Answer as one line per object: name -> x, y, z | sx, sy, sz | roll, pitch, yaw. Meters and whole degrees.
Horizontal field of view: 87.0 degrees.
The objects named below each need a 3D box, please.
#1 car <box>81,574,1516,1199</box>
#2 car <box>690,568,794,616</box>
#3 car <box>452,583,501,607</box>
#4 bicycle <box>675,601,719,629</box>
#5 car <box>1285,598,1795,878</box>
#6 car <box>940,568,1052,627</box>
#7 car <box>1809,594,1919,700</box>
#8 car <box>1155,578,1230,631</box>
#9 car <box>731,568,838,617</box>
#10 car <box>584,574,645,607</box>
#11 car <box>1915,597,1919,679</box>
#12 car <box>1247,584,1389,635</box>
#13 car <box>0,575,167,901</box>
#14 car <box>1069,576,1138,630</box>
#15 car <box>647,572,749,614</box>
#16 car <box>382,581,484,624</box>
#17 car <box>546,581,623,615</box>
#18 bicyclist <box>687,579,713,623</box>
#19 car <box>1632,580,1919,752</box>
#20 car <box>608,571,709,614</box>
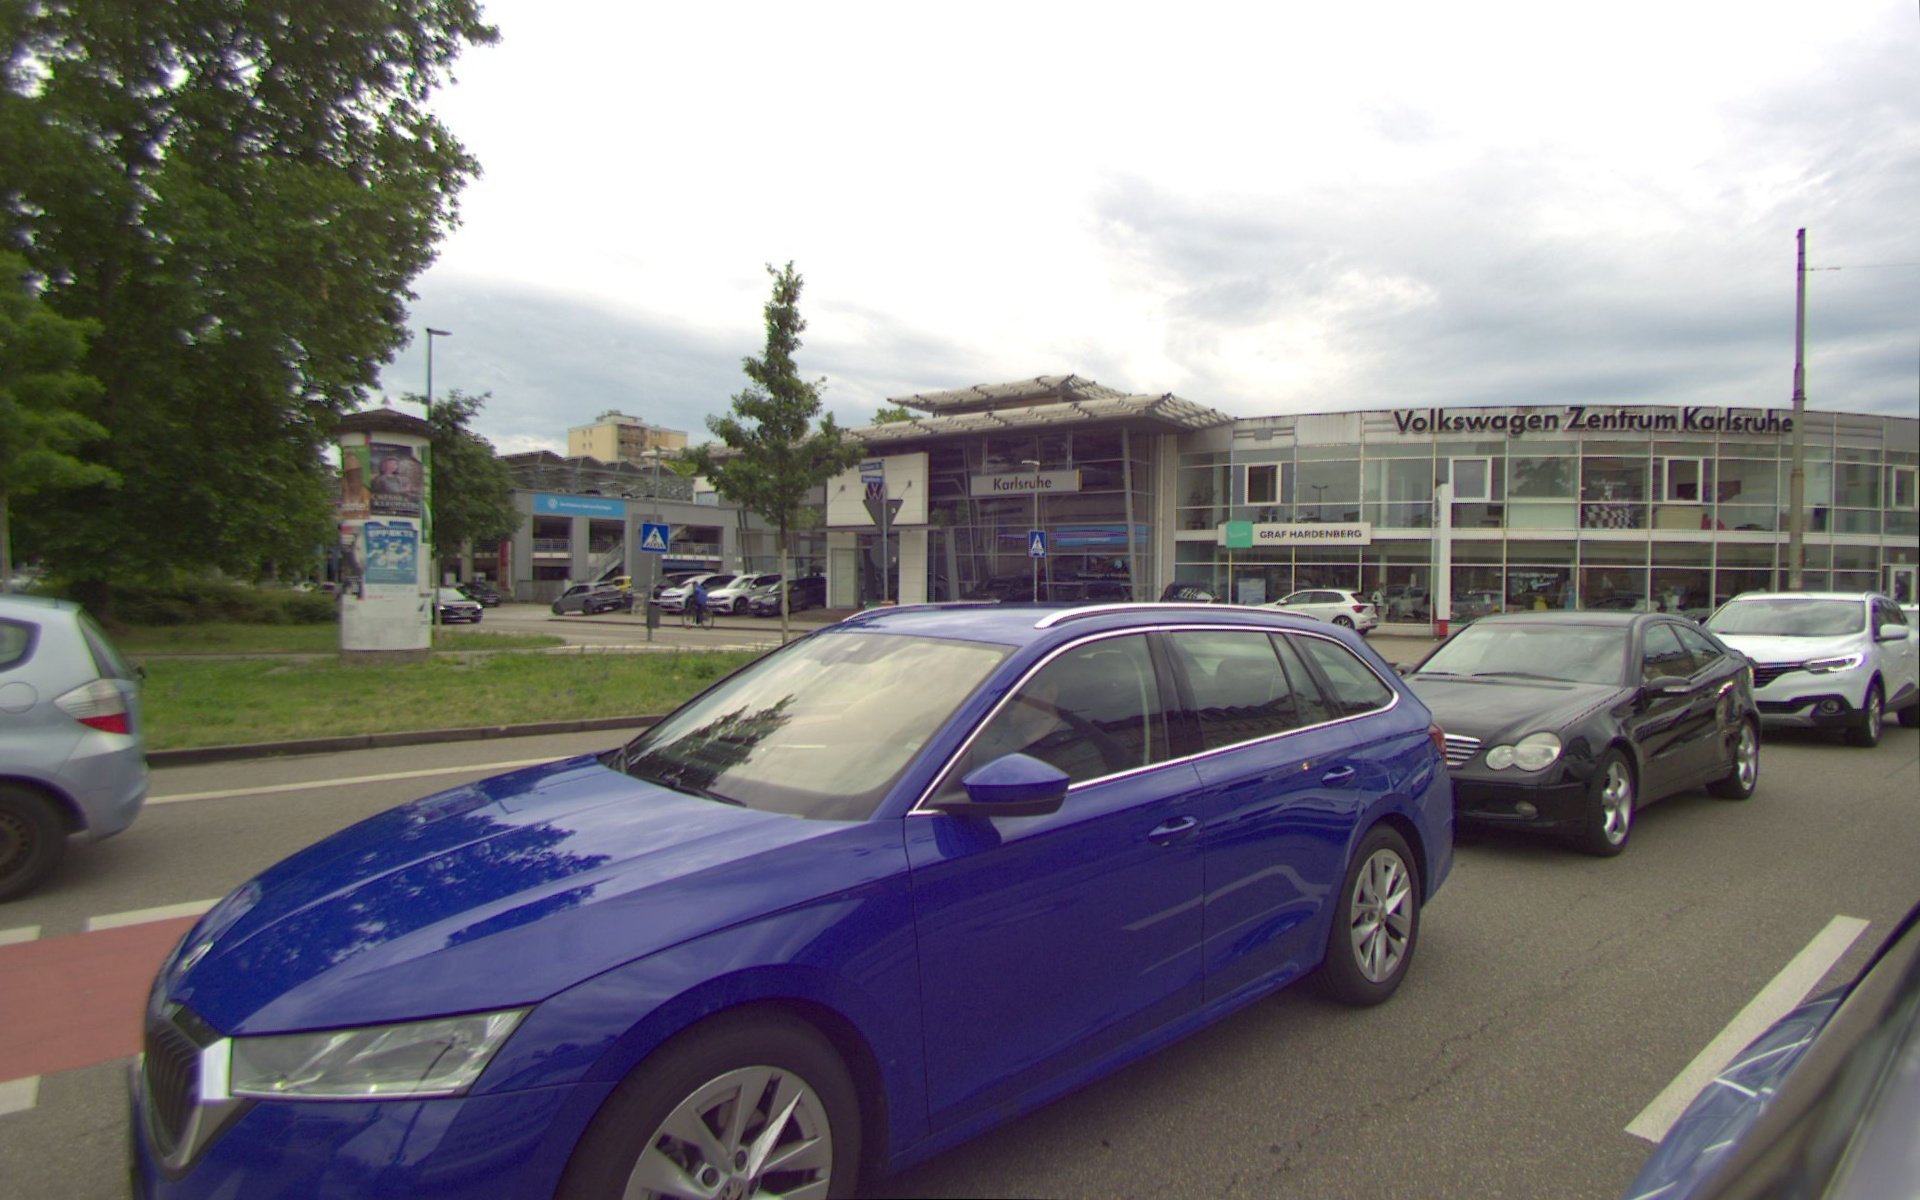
car -> 0.066, 0.670, 3.512 | 4.674, 1.454, 1.768 | 0, 1, -41
car -> -9.534, -0.414, 44.590 | 1.946, 1.615, 4.179 | 2, 8, 37
car -> -28.635, -0.303, 59.924 | 1.927, 1.358, 3.678 | 0, 1, -37
bicycle -> -9.365, 0.517, 36.008 | 1.779, 0.923, 0.555 | 2, 1, 36
car -> 4.332, 0.703, 7.257 | 4.343, 1.387, 1.769 | -1, 1, -40
car -> 1.367, -0.171, 35.921 | 1.942, 1.662, 4.627 | 1, 6, 31
car -> 14.753, 0.652, 15.492 | 3.899, 1.454, 1.909 | 0, 1, -38
car -> 7.397, 0.100, 32.508 | 1.759, 1.580, 4.029 | 1, 1, 5
car -> -7.366, -0.384, 42.784 | 1.946, 1.472, 4.181 | 2, 9, 37
car -> -17.686, -0.511, 51.775 | 3.106, 1.530, 1.422 | 1, 5, 38
car -> 19.164, 0.696, 18.492 | 3.899, 1.454, 1.909 | 0, 1, -38
car -> 11.195, 0.241, 31.771 | 3.889, 1.459, 1.708 | 2, 1, 40
car -> -5.971, 0.646, 4.407 | 3.867, 1.502, 1.707 | -1, 0, -43
car -> 4.773, 0.043, 33.270 | 1.927, 1.544, 4.216 | 1, 3, 12
car -> -11.899, -0.363, 46.193 | 1.946, 1.483, 4.178 | 2, 7, 37
car -> -21.653, 0.058, 41.472 | 4.856, 1.562, 1.866 | 2, 2, 38
car -> -18.360, -0.130, 49.388 | 4.128, 1.531, 1.633 | 2, 1, 38
bicyclist -> -9.219, 0.030, 35.885 | 0.691, 1.515, 0.548 | 1, 1, 36
car -> 9.477, 0.587, 11.401 | 4.069, 1.578, 1.983 | 0, 1, -38
car -> -14.122, -0.410, 47.629 | 1.946, 1.529, 4.179 | 2, 8, 37
